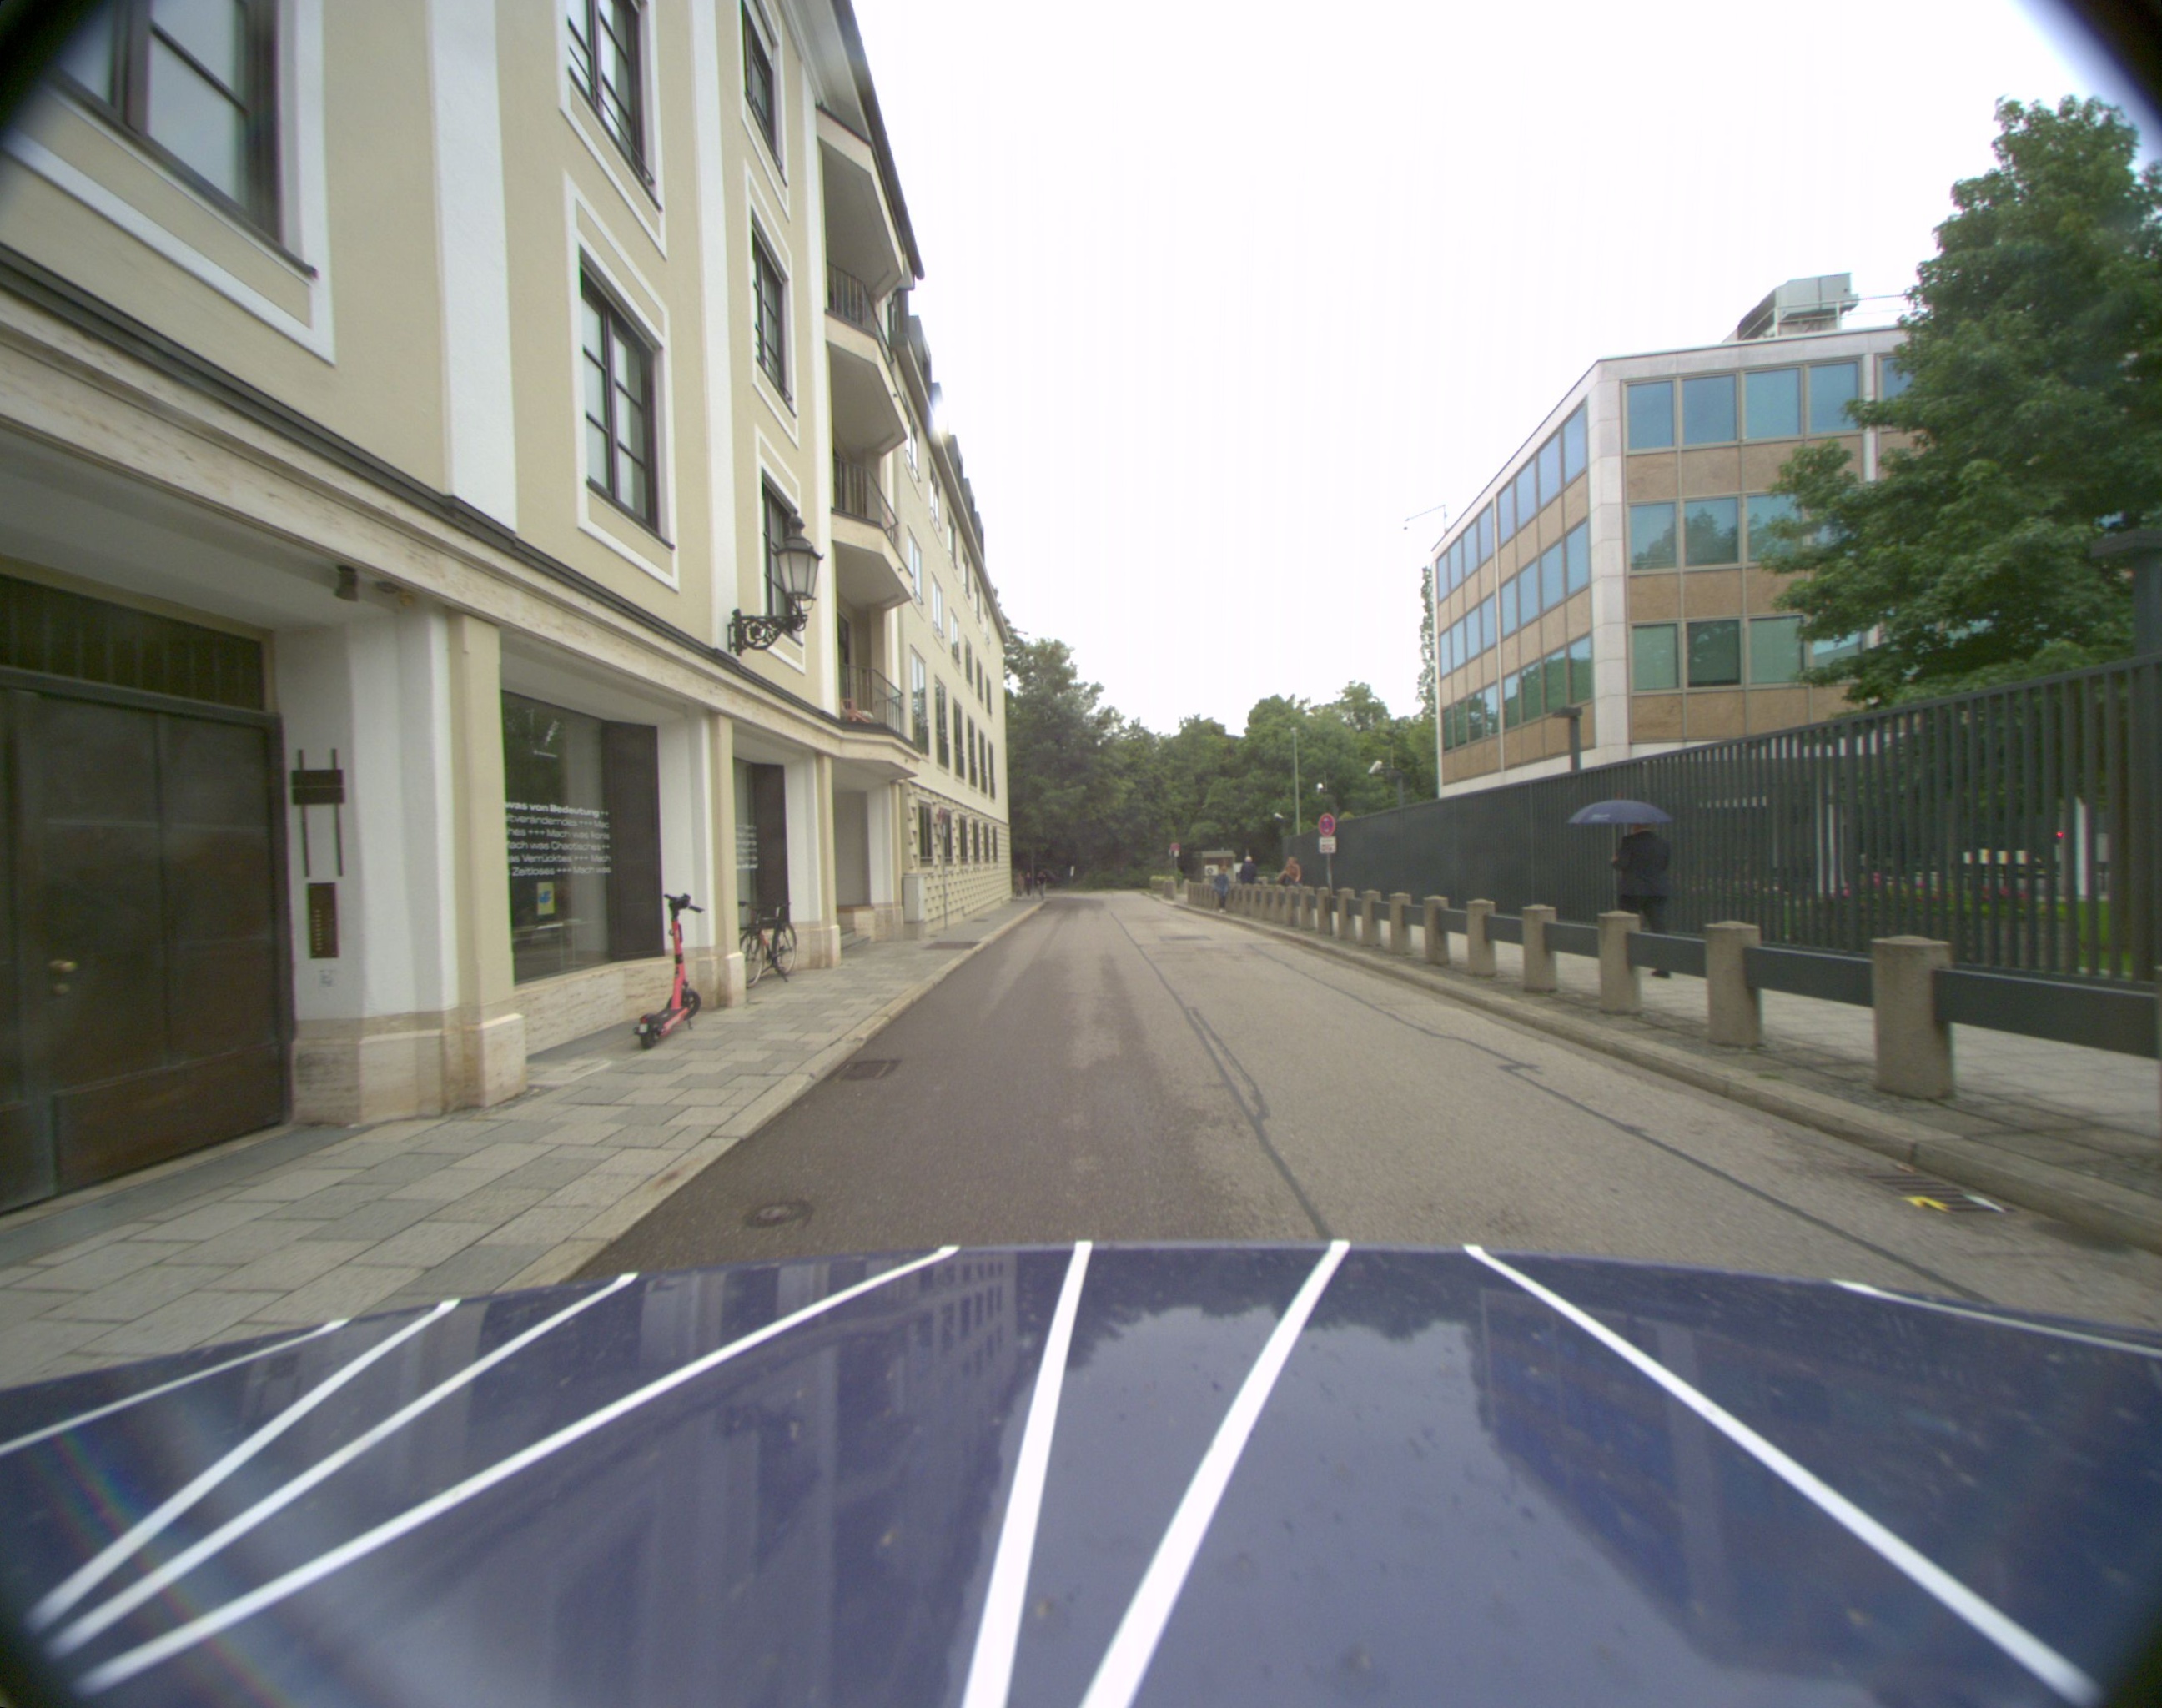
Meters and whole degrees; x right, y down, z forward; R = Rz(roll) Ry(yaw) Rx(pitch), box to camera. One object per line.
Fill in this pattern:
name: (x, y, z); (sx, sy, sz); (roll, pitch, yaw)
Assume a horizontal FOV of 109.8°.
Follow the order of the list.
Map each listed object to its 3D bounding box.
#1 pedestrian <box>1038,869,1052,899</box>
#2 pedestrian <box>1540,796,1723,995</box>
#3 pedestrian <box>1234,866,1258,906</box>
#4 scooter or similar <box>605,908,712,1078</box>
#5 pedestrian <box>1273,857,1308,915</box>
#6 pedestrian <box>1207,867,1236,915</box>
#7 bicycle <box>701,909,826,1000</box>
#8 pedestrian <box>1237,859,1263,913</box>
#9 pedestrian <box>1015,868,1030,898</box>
pedestrian: (-2.105, 1.737, 44.275); (0.753, 1.725, 0.853); (-1, 0, -1)
pedestrian: (6.204, 0.452, 8.657); (1.226, 2.091, 1.117); (-1, 0, 2)
pedestrian: (6.543, 1.270, 30.172); (0.778, 1.530, 0.933); (-4, -1, 8)
scooter or similar: (-3.651, 1.141, 6.652); (0.466, 1.251, 1.275); (1, 0, -13)
pedestrian: (6.515, 0.985, 23.659); (0.826, 1.712, 0.906); (-3, 0, 5)
pedestrian: (4.491, 1.173, 24.314); (0.640, 1.458, 1.079); (-3, -1, 1)
bicycle: (-4.156, 1.278, 10.137); (0.464, 0.988, 2.081); (-1, -2, 11)
pedestrian: (5.647, 1.071, 25.408); (0.625, 1.758, 0.767); (-1, 0, 0)
pedestrian: (-3.366, 1.657, 43.819); (0.753, 1.670, 0.656); (-1, 0, -1)
